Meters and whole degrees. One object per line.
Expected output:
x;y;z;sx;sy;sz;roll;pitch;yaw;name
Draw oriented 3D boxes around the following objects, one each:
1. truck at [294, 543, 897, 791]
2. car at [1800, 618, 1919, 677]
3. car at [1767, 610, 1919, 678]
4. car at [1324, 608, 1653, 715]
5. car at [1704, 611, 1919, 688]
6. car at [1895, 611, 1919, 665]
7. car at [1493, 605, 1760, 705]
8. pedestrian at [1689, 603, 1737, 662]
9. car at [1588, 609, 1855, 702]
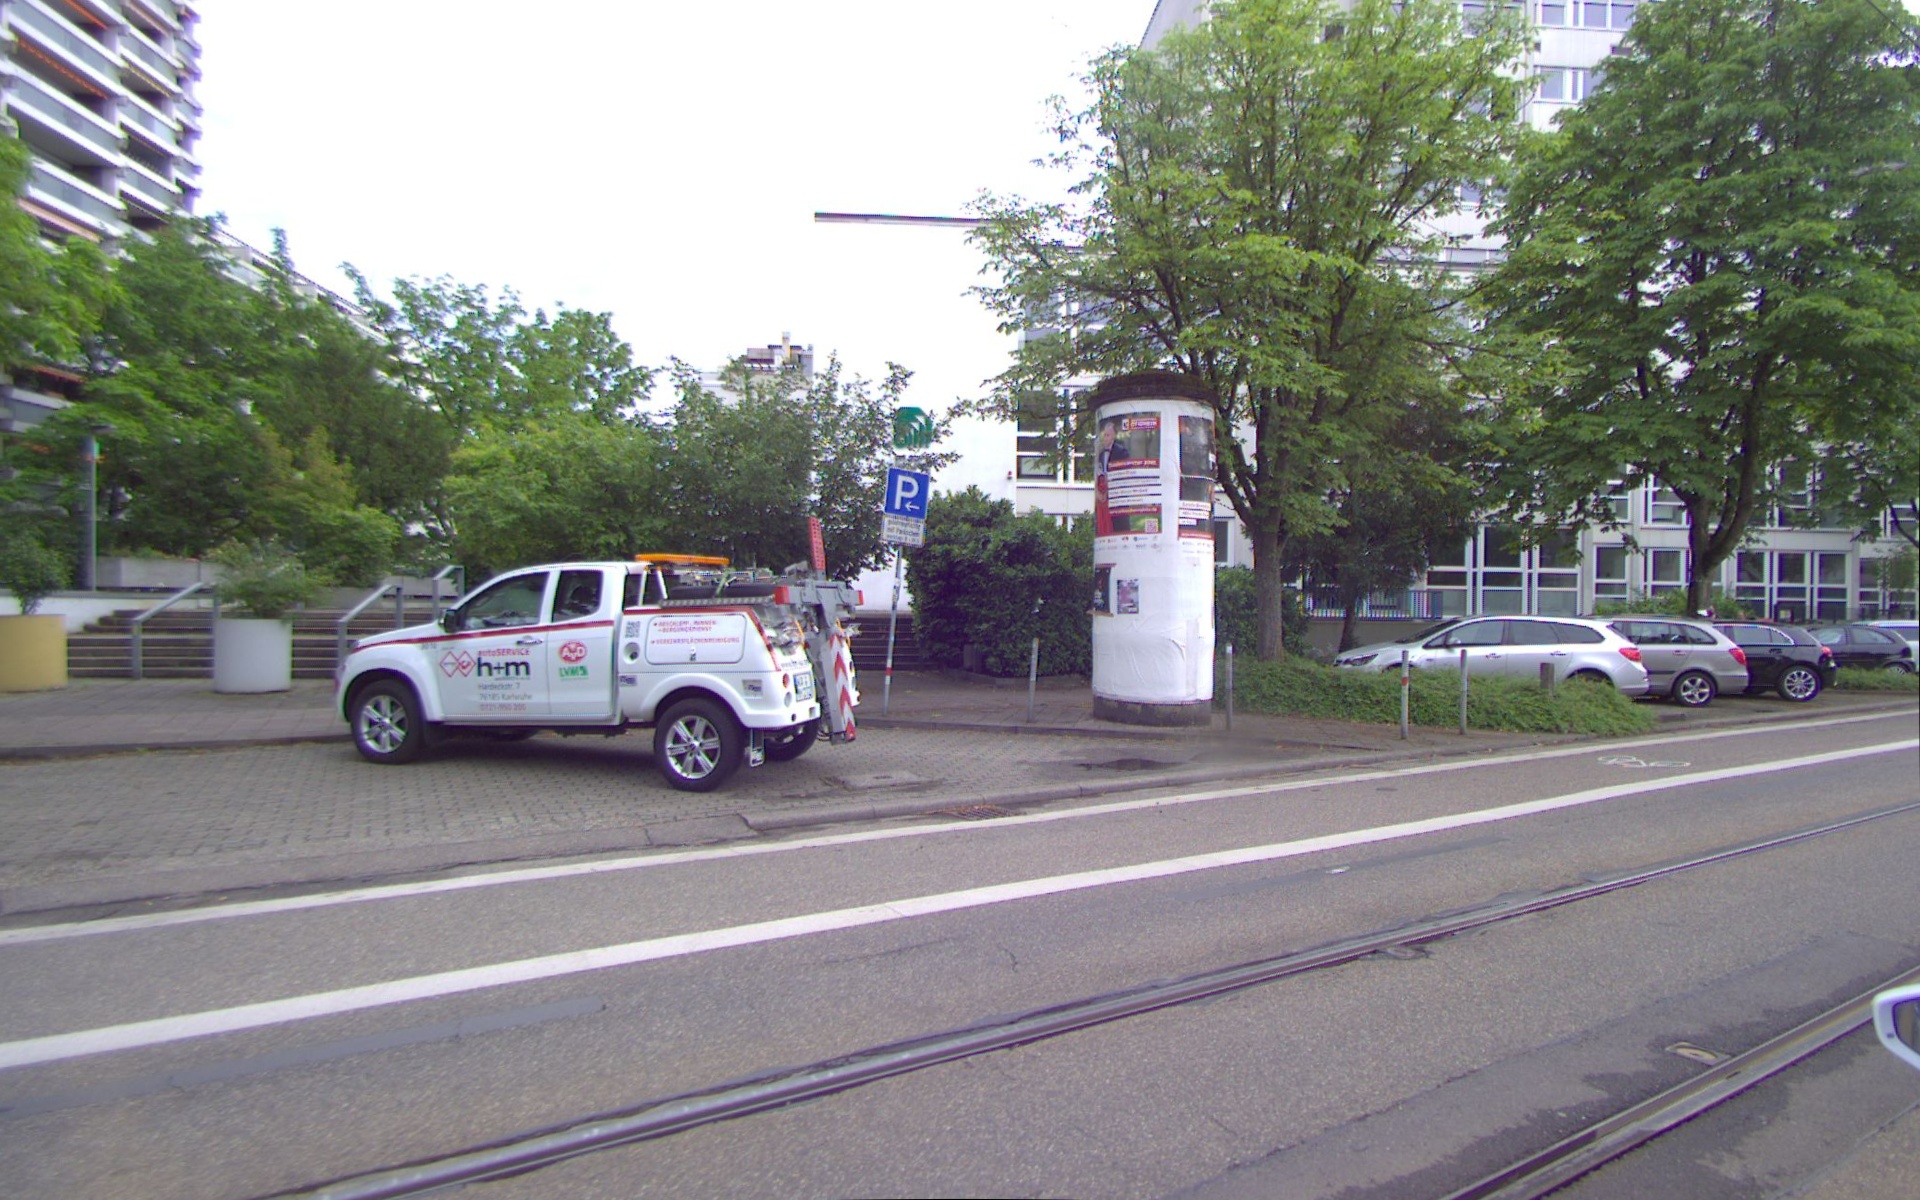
-3.271;0.472;9.263;4.962;1.873;2.001;1;0;15;truck
24.804;1.257;26.271;3.950;1.424;1.699;2;1;22;car
22.557;1.073;24.615;3.950;1.504;1.699;2;1;22;car
8.371;0.932;16.301;4.342;1.484;1.805;2;0;10;car
19.598;1.086;23.046;3.631;1.544;1.700;2;1;16;car
30.750;1.199;29.700;4.258;1.577;1.701;1;1;11;car
11.608;0.912;17.740;3.578;1.544;1.573;2;1;16;car
21.649;0.919;28.889;0.720;1.633;0.754;3;1;-7;pedestrian
14.319;0.995;19.119;3.631;1.544;1.700;2;1;16;car
